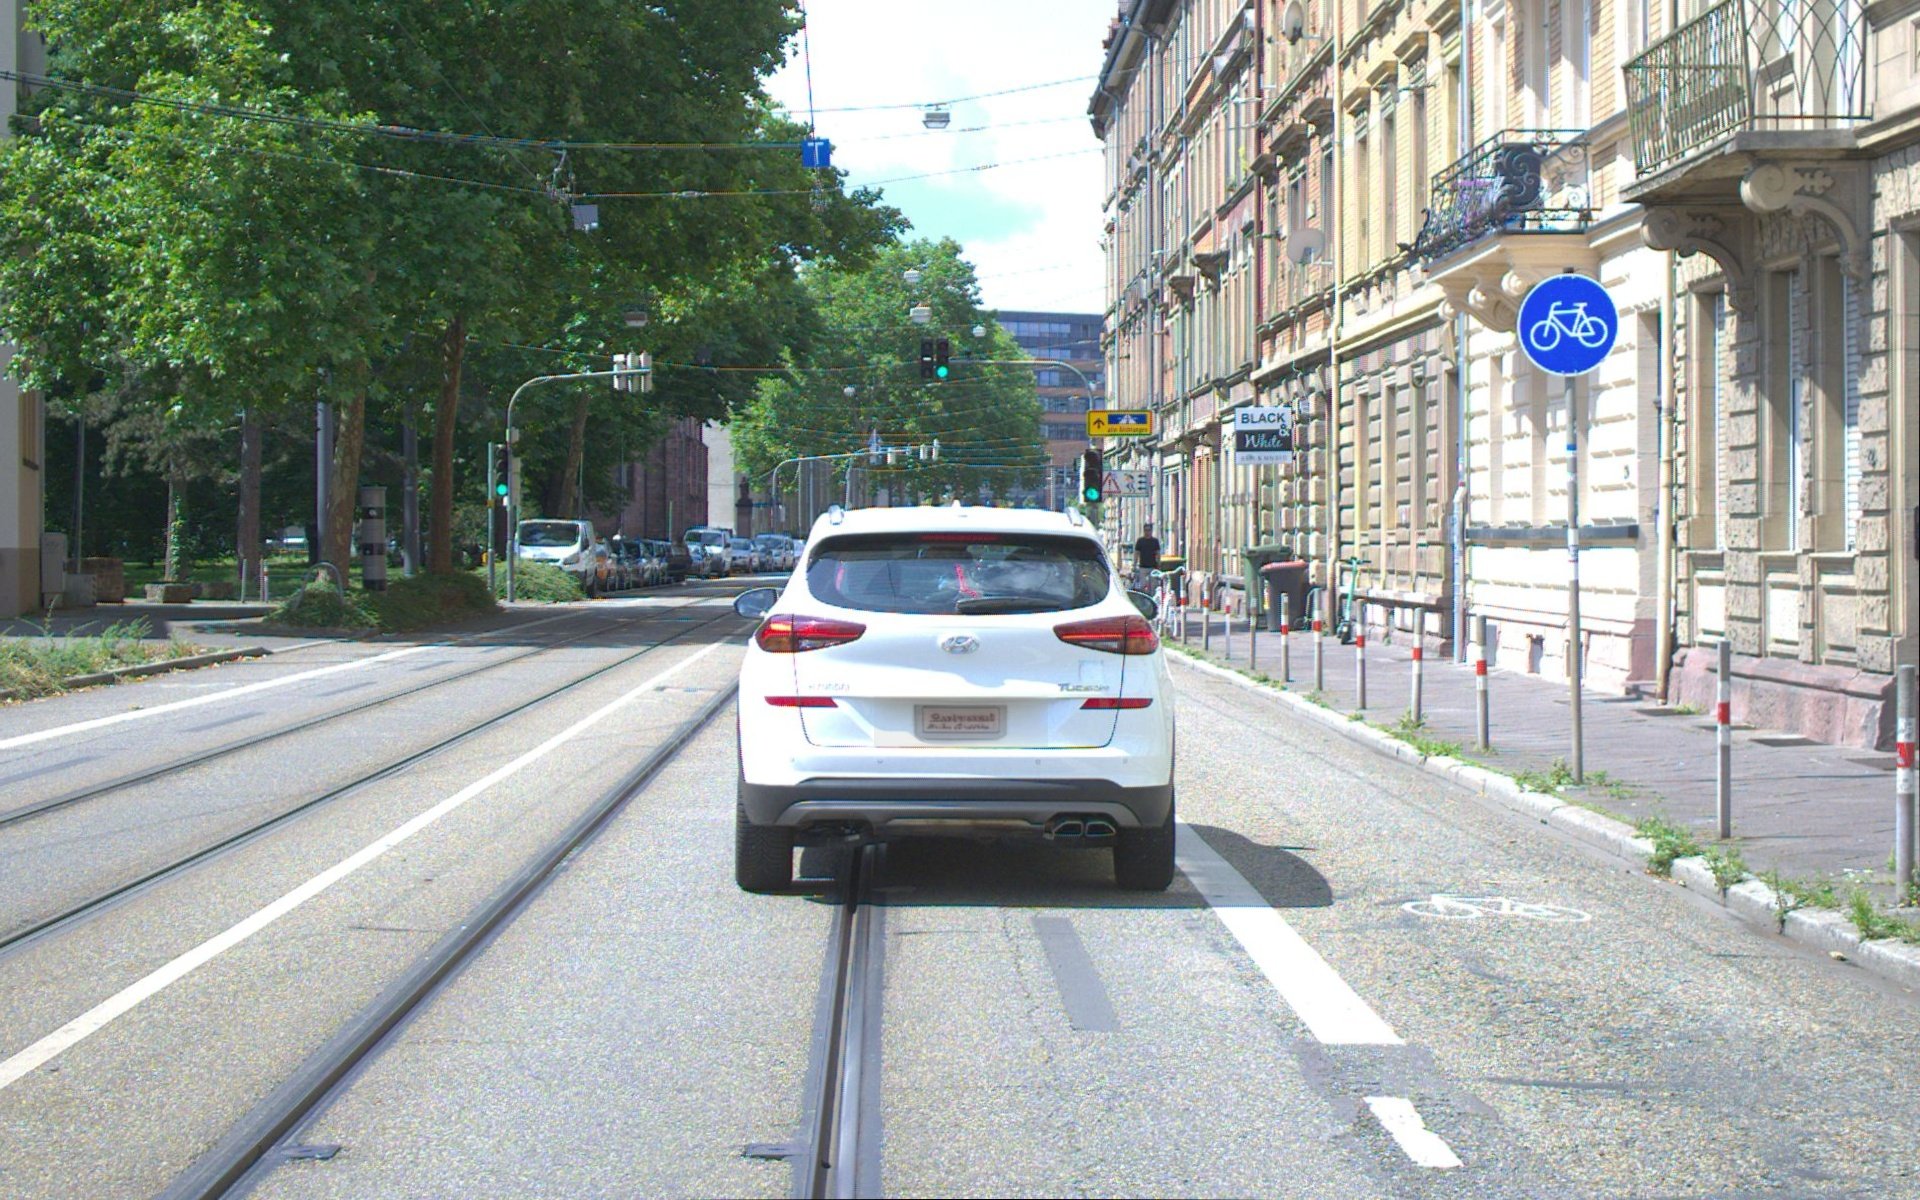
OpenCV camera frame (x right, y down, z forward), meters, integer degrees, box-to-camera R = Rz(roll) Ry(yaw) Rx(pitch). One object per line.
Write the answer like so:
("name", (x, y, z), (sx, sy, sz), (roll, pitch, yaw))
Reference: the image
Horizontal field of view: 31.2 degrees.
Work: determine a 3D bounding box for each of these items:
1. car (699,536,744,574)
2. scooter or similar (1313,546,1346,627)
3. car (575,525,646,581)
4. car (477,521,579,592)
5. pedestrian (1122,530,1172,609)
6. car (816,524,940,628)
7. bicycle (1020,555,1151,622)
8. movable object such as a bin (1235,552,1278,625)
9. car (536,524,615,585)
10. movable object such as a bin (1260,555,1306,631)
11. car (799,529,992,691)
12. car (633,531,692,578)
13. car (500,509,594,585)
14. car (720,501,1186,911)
("car", (-10.580, -2.016, 152.854), (1.950, 1.626, 4.001), (1, 1, -3))
("scooter or similar", (5.361, -0.194, 49.877), (0.395, 1.160, 0.486), (1, 1, -1))
("car", (-10.528, -1.445, 103.844), (1.950, 1.626, 4.001), (1, 1, -3))
("car", (-10.338, -1.069, 82.613), (1.950, 1.626, 4.576), (1, 1, -1))
("pedestrian", (3.805, -0.627, 70.063), (0.938, 1.567, 1.050), (1, 1, -1))
("car", (-1.234, -0.388, 52.628), (1.814, 1.519, 3.956), (1, 1, -1))
("bicycle", (2.235, -0.206, 61.309), (2.267, 1.140, 0.585), (1, 1, -3))
("movable object such as a bin", (4.687, -0.188, 54.366), (0.612, 1.139, 0.638), (0, 1, -1))
("car", (-10.709, -1.287, 95.876), (1.950, 1.626, 4.001), (1, 1, -3))
("movable object such as a bin", (4.970, -0.110, 52.922), (0.612, 1.139, 0.638), (1, 1, -1))
("car", (-0.606, 0.058, 34.489), (1.814, 1.519, 4.085), (0, 1, 0))
("car", (-10.493, -1.618, 121.600), (1.950, 1.626, 4.001), (1, 1, -3))
("car", (-10.613, -1.374, 88.657), (1.950, 1.888, 4.566), (1, 1, -1))
("car", (-0.147, 0.385, 15.836), (1.852, 1.628, 4.181), (0, 1, -3))
